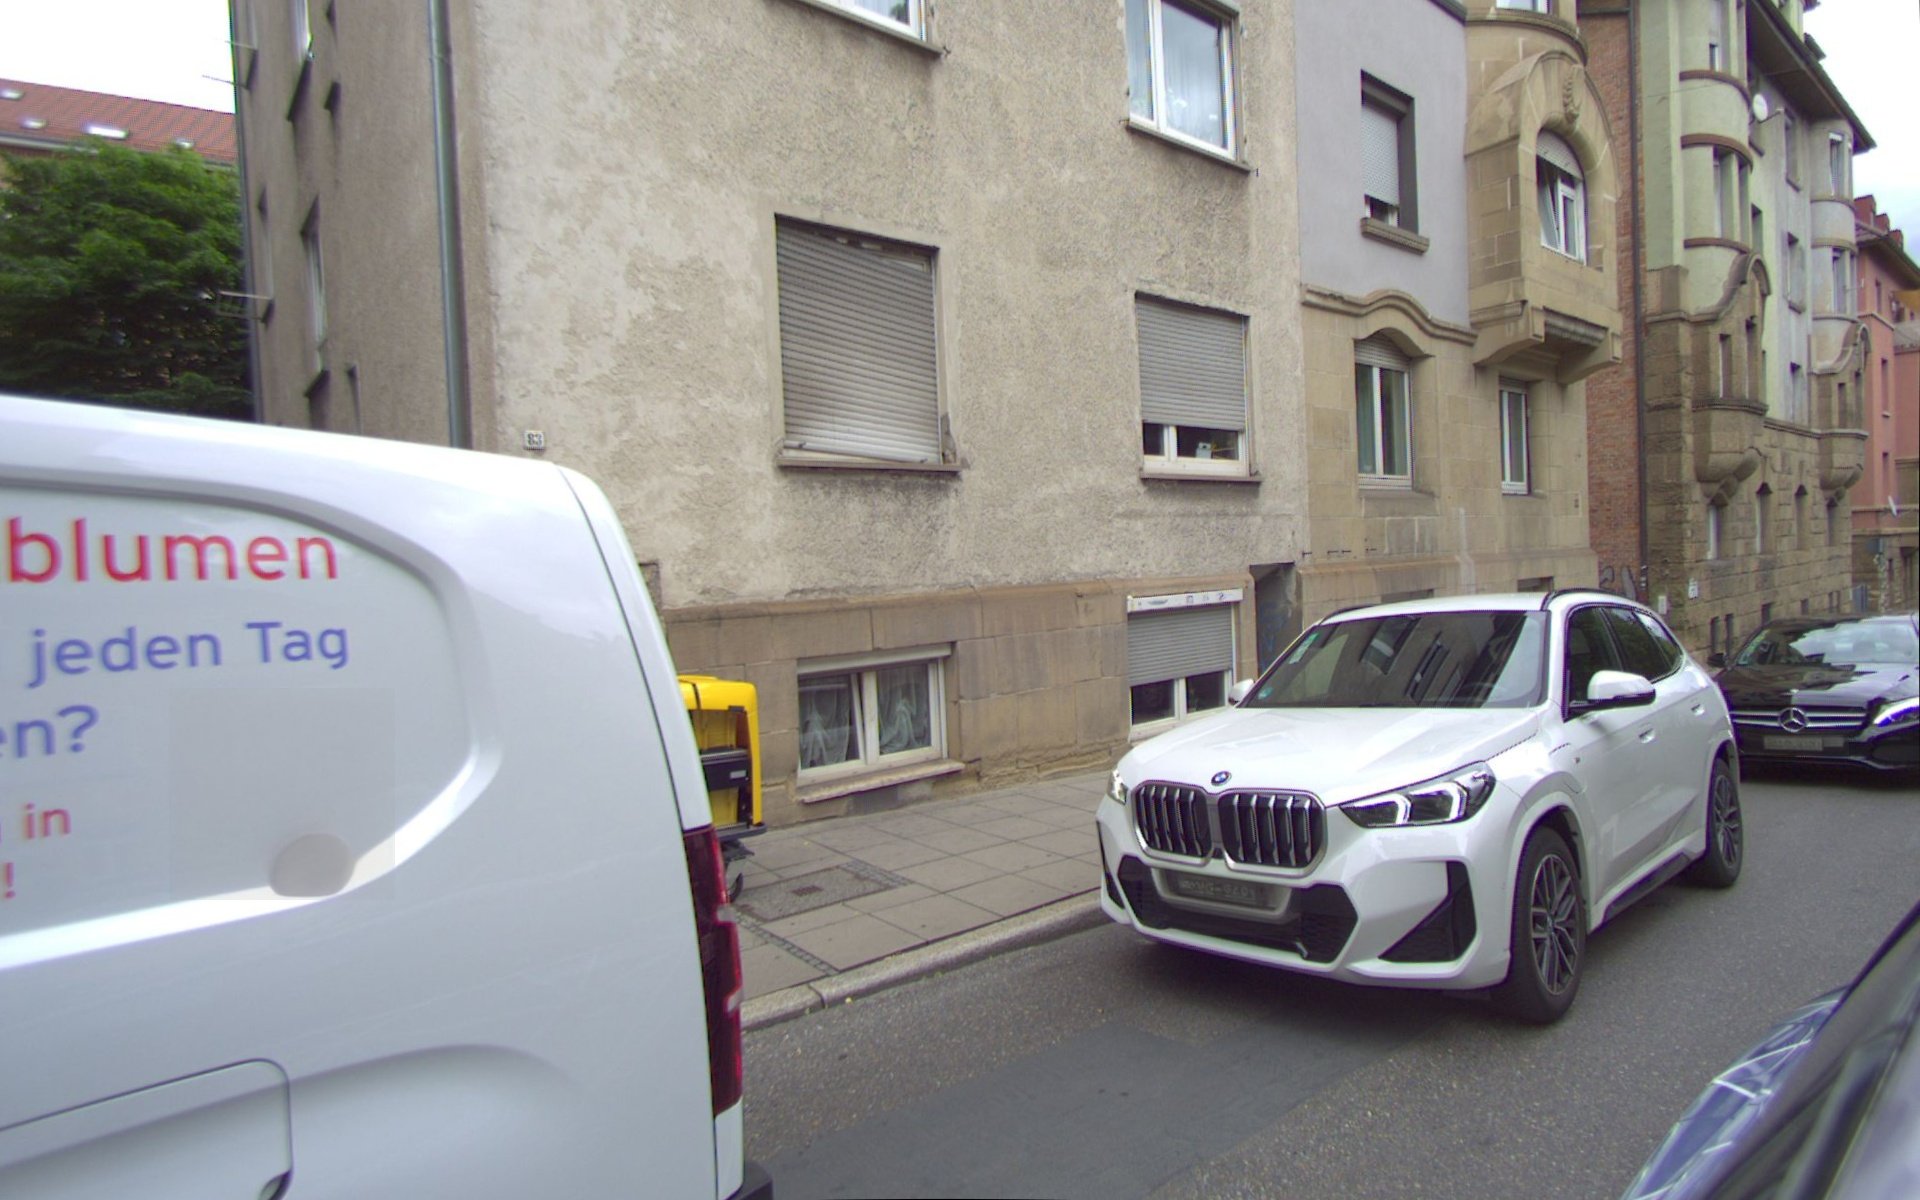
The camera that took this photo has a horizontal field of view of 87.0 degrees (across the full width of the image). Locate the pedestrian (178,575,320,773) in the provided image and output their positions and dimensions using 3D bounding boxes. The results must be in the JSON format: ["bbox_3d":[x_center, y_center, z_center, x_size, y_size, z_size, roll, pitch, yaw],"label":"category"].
[{"bbox_3d":[-6.539,0.636,9.312,0.808,1.666,0.773,0,6,42],"label":"pedestrian"}]

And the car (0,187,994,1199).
[{"bbox_3d":[-2.310,0.569,0.947,4.597,1.798,1.977,-1,-3,-42],"label":"car"}]

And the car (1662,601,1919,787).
[{"bbox_3d":[8.465,0.751,9.638,4.133,1.395,1.882,-1,-3,-41],"label":"car"}]

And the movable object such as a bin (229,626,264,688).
[{"bbox_3d":[-10.989,0.875,15.583,0.405,0.923,0.340,0,0,-40],"label":"movable object such as a bin"}]

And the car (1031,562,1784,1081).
[{"bbox_3d":[2.559,0.711,5.225,4.276,1.576,1.857,-1,-4,-42],"label":"car"}]

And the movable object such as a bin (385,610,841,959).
[{"bbox_3d":[-1.793,0.785,5.370,1.979,1.391,1.223,-1,2,-43],"label":"movable object such as a bin"}]

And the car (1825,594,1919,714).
[{"bbox_3d":[14.011,0.663,14.307,4.226,1.534,1.935,-1,-3,-40],"label":"car"}]
